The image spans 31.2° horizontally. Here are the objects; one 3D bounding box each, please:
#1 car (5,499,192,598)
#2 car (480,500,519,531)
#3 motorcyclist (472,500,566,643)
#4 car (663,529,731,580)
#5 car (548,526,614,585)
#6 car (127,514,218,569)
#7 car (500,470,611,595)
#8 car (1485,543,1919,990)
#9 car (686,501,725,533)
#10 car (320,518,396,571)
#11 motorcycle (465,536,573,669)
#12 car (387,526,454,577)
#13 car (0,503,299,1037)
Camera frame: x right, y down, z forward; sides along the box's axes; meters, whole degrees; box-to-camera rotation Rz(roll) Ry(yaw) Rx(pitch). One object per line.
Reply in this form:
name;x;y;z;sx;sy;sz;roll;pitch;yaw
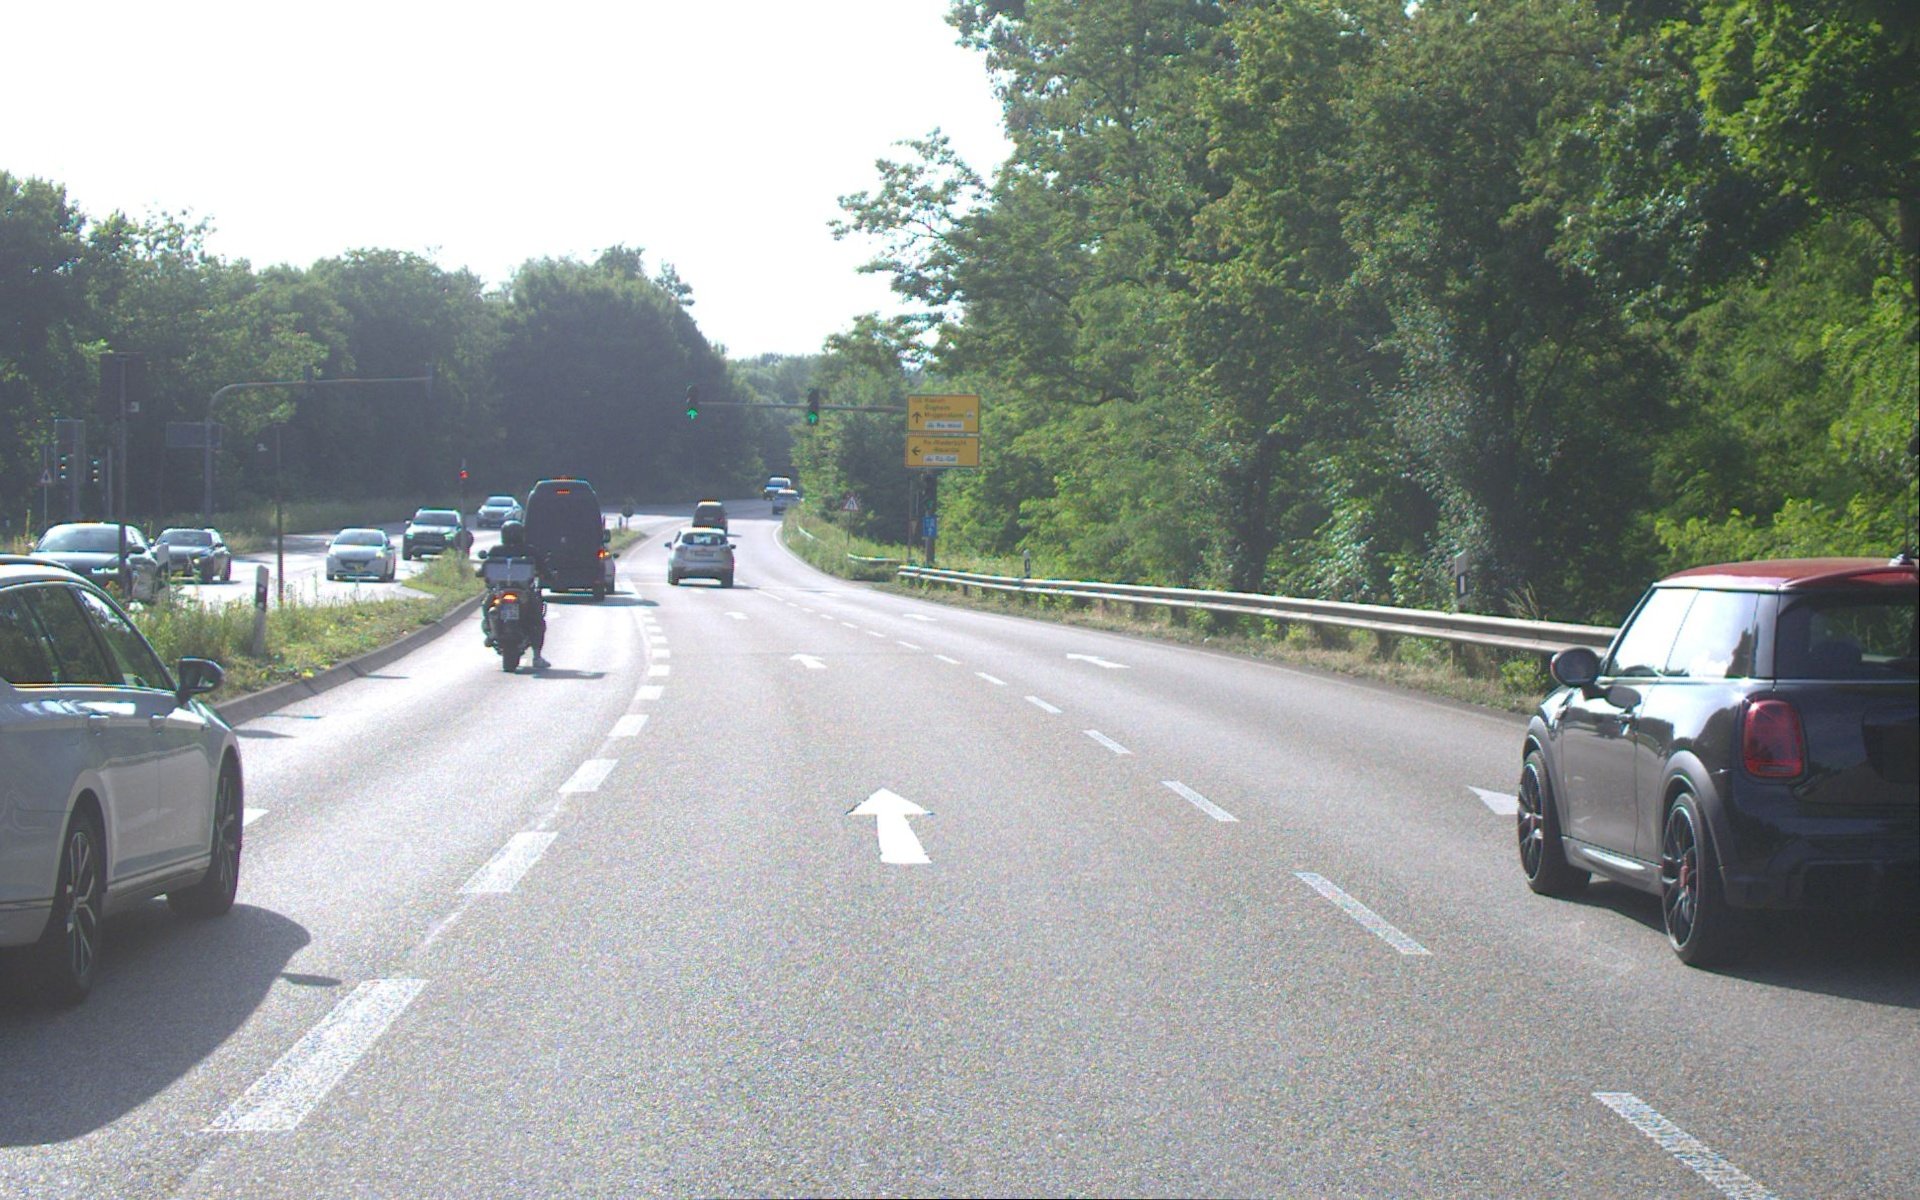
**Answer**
car;-15.489;-0.965;62.164;2.102;1.702;6.226;0;2;-3
car;-22.801;-4.200;170.268;1.883;1.498;4.266;-1;2;-8
motorcyclist;-5.170;-0.340;40.335;0.883;1.610;1.290;3;1;-1
car;-7.716;-1.357;101.105;1.761;1.375;3.972;2;1;-2
car;-9.927;-1.193;90.232;1.645;1.484;4.105;0;2;-5
car;-21.110;-1.591;92.318;1.788;1.402;4.755;1;1;-6
car;-9.697;-1.643;82.851;2.209;2.878;7.012;0;2;-3
car;3.301;0.536;13.473;1.819;1.462;3.873;1;1;-1
car;-12.913;-4.222;174.106;1.744;1.532;3.927;3;1;-7
car;-17.326;-1.623;99.052;1.788;1.406;4.228;3;1;-6
motorcycle;-5.163;0.004;40.411;0.908;1.448;2.689;-2;2;-1
car;-19.305;-1.757;123.208;2.075;1.757;4.758;0;2;-6
car;-3.725;0.416;12.334;1.870;1.516;4.835;2;1;-2
